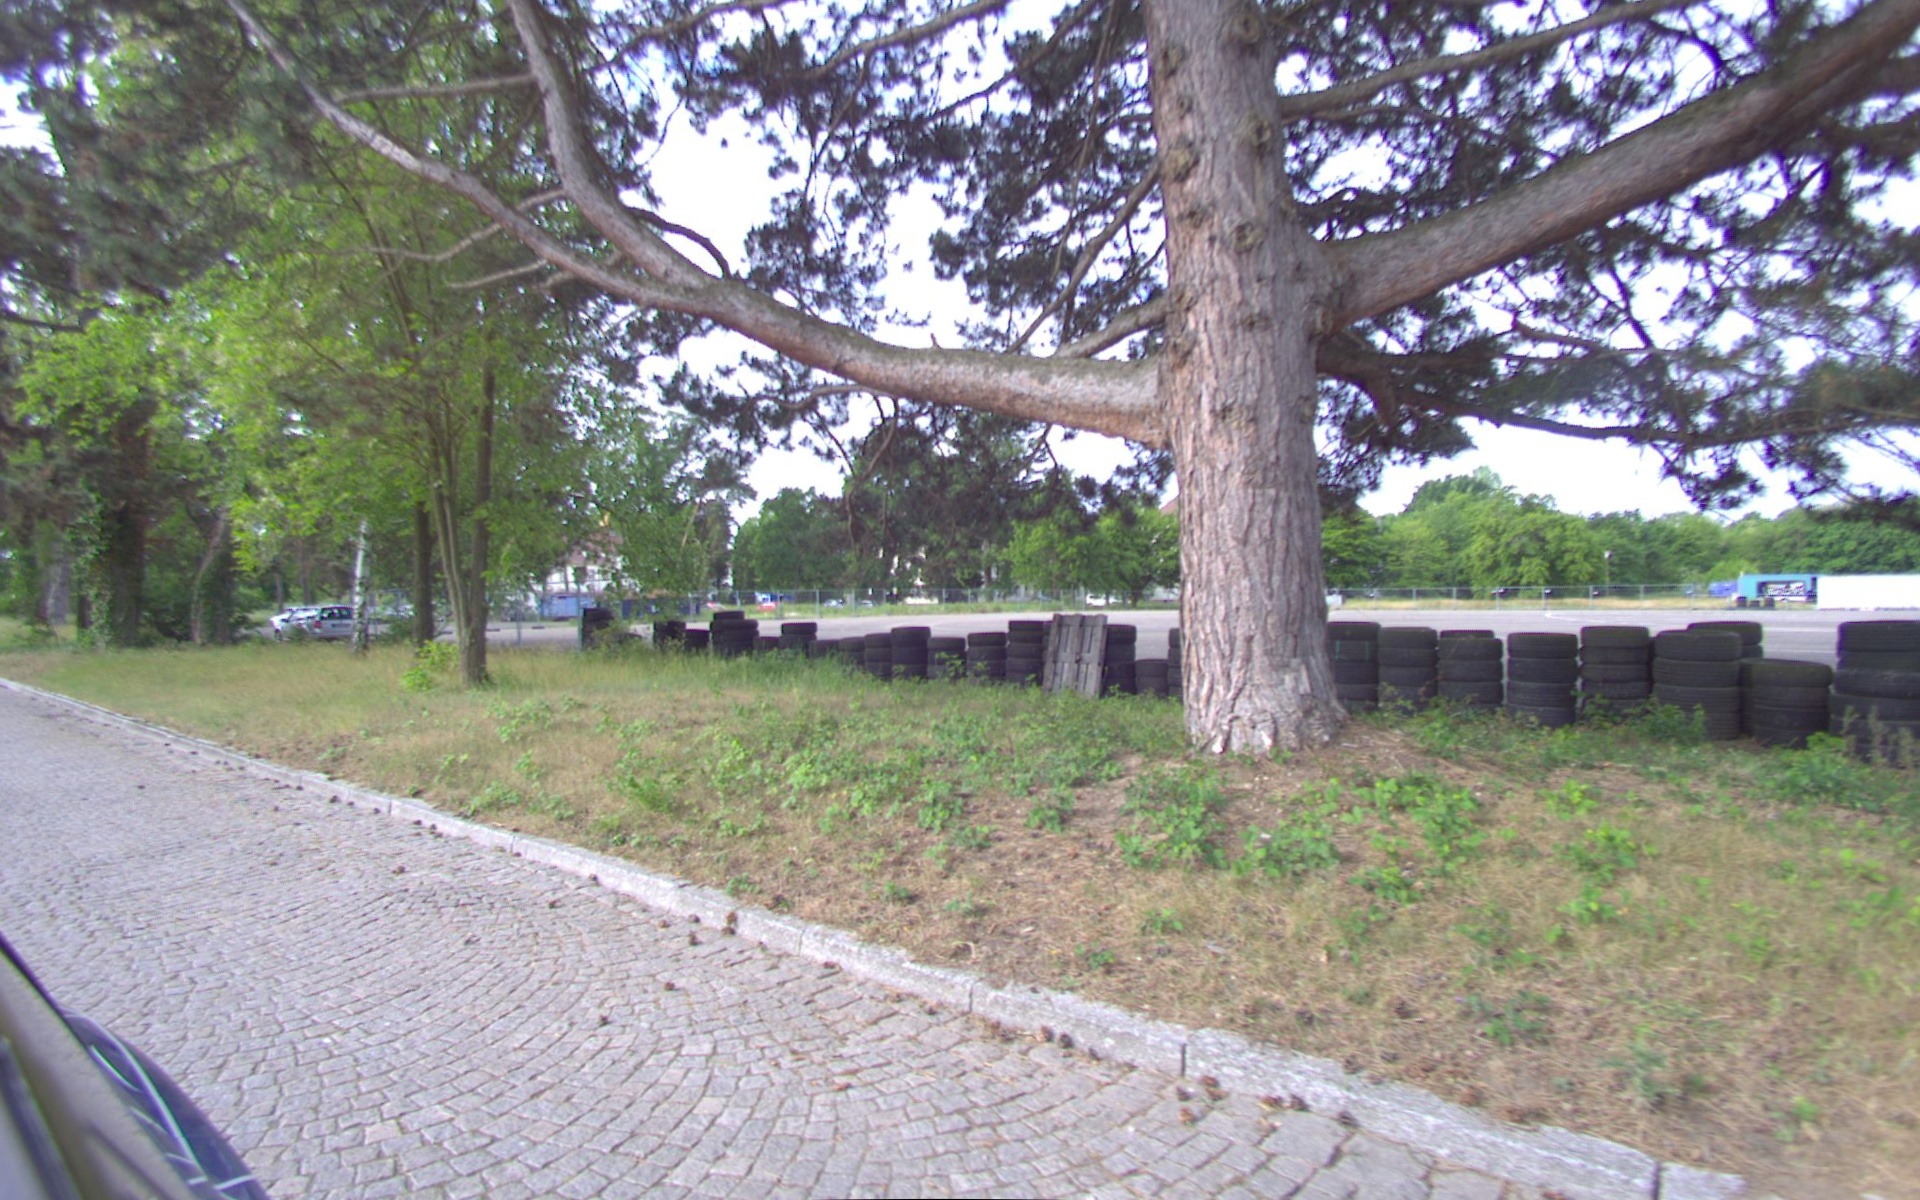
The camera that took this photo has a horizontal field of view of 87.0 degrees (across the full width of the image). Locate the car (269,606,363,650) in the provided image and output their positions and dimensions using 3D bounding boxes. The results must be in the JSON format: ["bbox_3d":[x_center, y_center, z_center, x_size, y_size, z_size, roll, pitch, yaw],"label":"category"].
[{"bbox_3d":[-22.461,0.943,35.274,3.719,1.421,1.649,-1,0,38],"label":"car"}]

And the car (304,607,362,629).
[{"bbox_3d":[-43.164,1.210,69.680,4.446,1.460,1.975,-1,0,38],"label":"car"}]

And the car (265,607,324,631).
[{"bbox_3d":[-44.399,1.254,67.475,4.446,1.460,1.975,-1,0,38],"label":"car"}]

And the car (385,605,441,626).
[{"bbox_3d":[-40.156,1.115,74.212,4.446,1.460,1.975,-1,0,38],"label":"car"}]

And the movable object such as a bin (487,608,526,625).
[{"bbox_3d":[-29.835,1.074,66.596,2.712,1.079,1.046,-1,0,32],"label":"movable object such as a bin"}]

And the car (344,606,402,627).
[{"bbox_3d":[-41.593,1.166,71.692,4.446,1.460,1.975,-1,0,38],"label":"car"}]
